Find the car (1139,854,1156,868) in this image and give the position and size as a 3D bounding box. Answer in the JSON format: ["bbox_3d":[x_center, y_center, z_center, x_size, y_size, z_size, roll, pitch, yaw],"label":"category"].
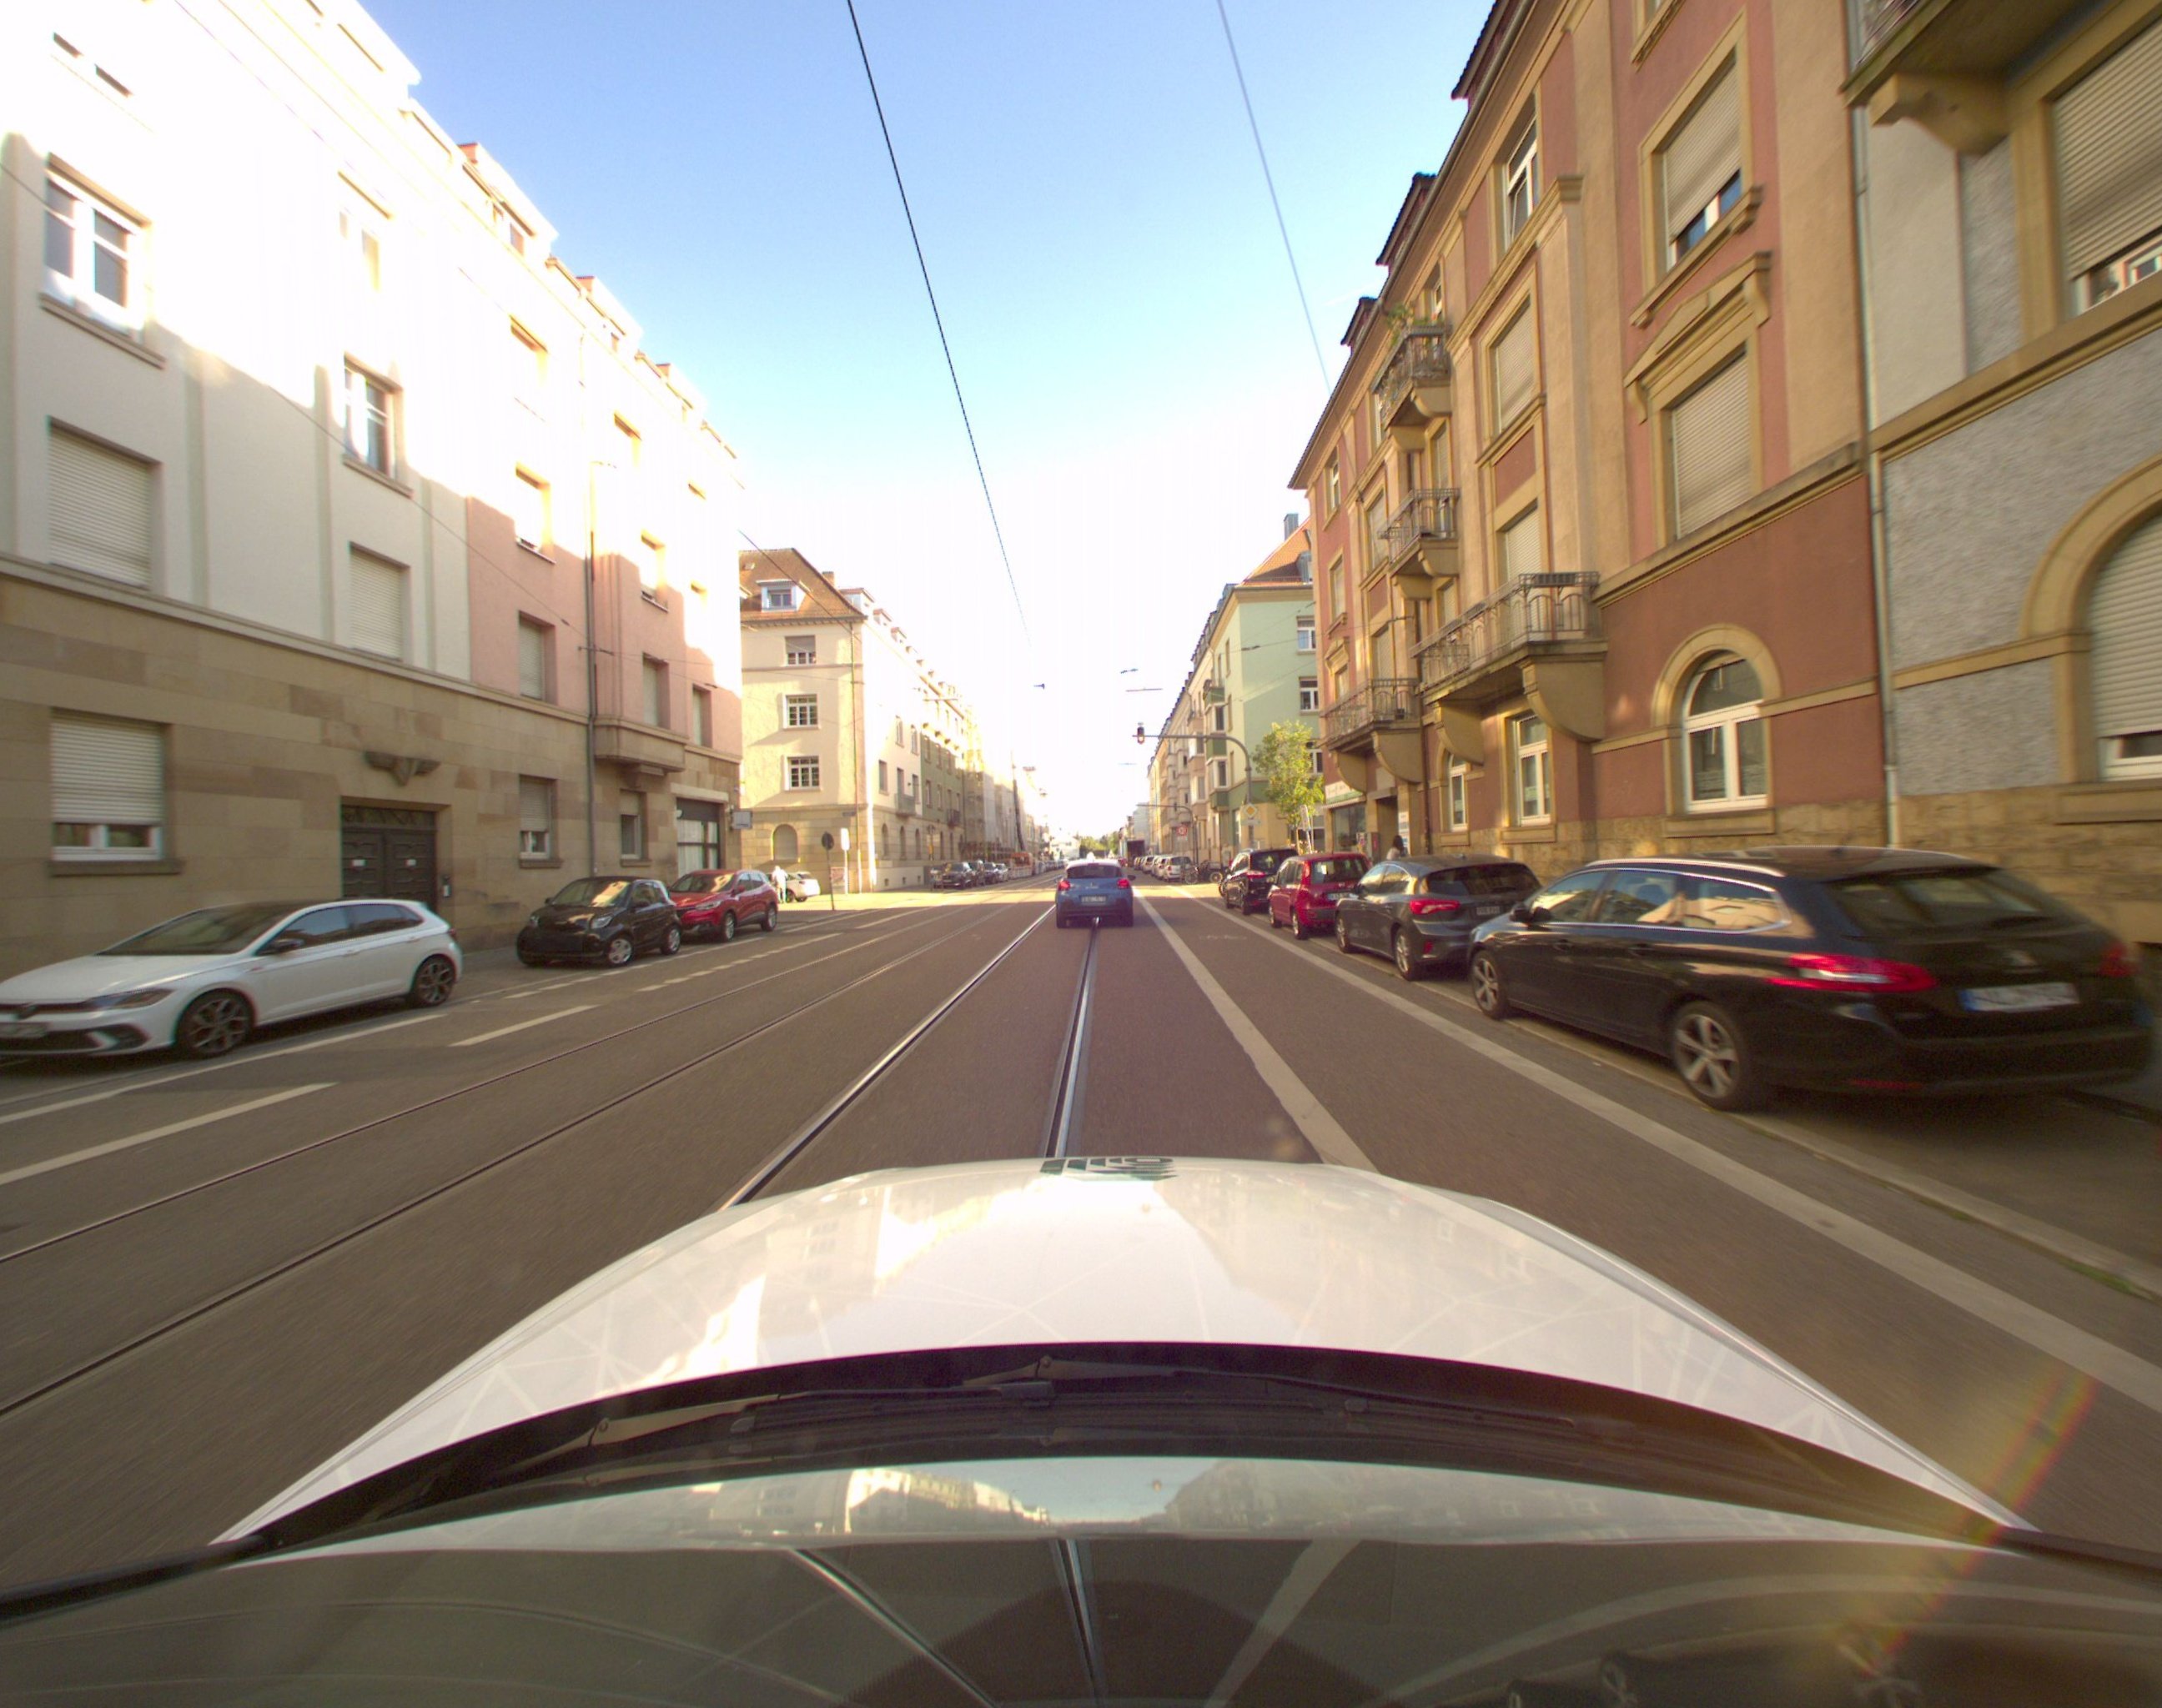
[{"bbox_3d":[7.640,0.809,93.943,1.657,1.519,4.224,-3,0,2],"label":"car"}]

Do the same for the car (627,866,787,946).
[{"bbox_3d":[-8.742,1.135,19.521,1.777,1.606,4.396,-1,0,0],"label":"car"}]

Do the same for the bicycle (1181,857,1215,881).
[{"bbox_3d":[6.547,0.811,45.521,1.716,1.154,0.469,-6,0,2],"label":"bicycle"}]

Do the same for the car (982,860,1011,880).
[{"bbox_3d":[-6.948,1.287,67.469,1.711,1.502,4.391,-1,0,3],"label":"car"}]

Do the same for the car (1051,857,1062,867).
[{"bbox_3d":[-4.528,1.491,151.388,1.819,1.631,3.907,-3,0,2],"label":"car"}]

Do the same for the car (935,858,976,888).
[{"bbox_3d":[-7.671,1.110,50.037,1.777,1.690,4.667,-1,0,0],"label":"car"}]

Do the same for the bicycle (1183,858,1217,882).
[{"bbox_3d":[6.450,0.871,44.221,1.716,1.154,0.469,-6,0,2],"label":"bicycle"}]

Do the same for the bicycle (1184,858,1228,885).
[{"bbox_3d":[6.386,0.891,41.744,2.078,1.154,0.849,-6,0,2],"label":"bicycle"}]

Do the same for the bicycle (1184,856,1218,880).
[{"bbox_3d":[6.604,0.767,44.896,1.716,1.154,0.469,-6,0,2],"label":"bicycle"}]

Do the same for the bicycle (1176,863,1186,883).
[{"bbox_3d":[5.485,1.026,44.723,0.351,1.044,1.730,-3,0,4],"label":"bicycle"}]

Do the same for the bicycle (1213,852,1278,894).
[{"bbox_3d":[5.423,0.629,26.925,1.952,1.227,0.527,-4,0,2],"label":"bicycle"}]

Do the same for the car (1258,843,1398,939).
[{"bbox_3d":[4.715,0.643,16.100,1.746,1.594,3.733,-3,0,3],"label":"car"}]

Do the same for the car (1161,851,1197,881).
[{"bbox_3d":[5.894,0.711,49.420,1.777,1.632,4.002,-3,0,2],"label":"car"}]

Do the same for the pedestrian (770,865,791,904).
[{"bbox_3d":[-13.580,1.372,36.806,0.604,1.712,0.732,-3,0,1],"label":"pedestrian"}]

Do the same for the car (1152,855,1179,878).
[{"bbox_3d":[6.292,0.867,60.666,1.648,1.566,4.340,-3,0,2],"label":"car"}]

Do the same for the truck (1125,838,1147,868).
[{"bbox_3d":[8.059,-0.086,120.523,2.841,4.083,11.280,-3,0,3],"label":"truck"}]

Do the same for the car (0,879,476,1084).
[{"bbox_3d":[-9.239,1.172,9.117,1.777,1.621,4.178,-1,0,0],"label":"car"}]

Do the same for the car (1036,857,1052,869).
[{"bbox_3d":[-5.686,1.332,125.551,2.137,1.621,4.001,-4,0,1],"label":"car"}]

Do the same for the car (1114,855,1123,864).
[{"bbox_3d":[9.826,1.411,212.867,2.211,2.284,4.086,-3,0,2],"label":"car"}]

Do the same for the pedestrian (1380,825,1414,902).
[{"bbox_3d":[7.037,0.211,18.145,0.511,1.687,0.448,-3,0,1],"label":"pedestrian"}]

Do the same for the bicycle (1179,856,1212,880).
[{"bbox_3d":[6.503,0.808,46.149,1.716,1.154,0.469,-6,0,2],"label":"bicycle"}]

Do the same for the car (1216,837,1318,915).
[{"bbox_3d":[4.909,0.538,22.093,1.746,1.735,4.509,-6,0,2],"label":"car"}]

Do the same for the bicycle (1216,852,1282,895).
[{"bbox_3d":[5.422,0.625,26.364,1.952,1.227,0.527,-4,0,2],"label":"bicycle"}]

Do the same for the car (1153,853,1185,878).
[{"bbox_3d":[5.961,0.766,55.352,1.777,1.576,4.328,-3,0,2],"label":"car"}]

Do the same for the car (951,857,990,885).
[{"bbox_3d":[-7.502,1.123,55.495,1.776,1.816,4.531,-1,0,3],"label":"car"}]

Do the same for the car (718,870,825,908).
[{"bbox_3d":[-14.421,1.601,38.111,4.202,1.464,1.783,-3,1,1],"label":"car"}]

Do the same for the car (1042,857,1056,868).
[{"bbox_3d":[-5.193,1.365,131.317,1.819,1.631,4.851,-3,0,2],"label":"car"}]

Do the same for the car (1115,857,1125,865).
[{"bbox_3d":[7.412,1.307,153.888,1.758,1.486,4.034,-3,0,2],"label":"car"}]

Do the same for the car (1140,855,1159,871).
[{"bbox_3d":[7.127,0.943,84.555,1.716,1.486,4.224,-3,0,2],"label":"car"}]

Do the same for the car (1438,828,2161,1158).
[{"bbox_3d":[4.472,0.658,6.095,1.648,1.483,4.475,-3,0,1],"label":"car"}]

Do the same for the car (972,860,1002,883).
[{"bbox_3d":[-7.060,1.274,61.568,1.777,1.627,4.608,-1,0,0],"label":"car"}]

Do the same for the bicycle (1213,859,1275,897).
[{"bbox_3d":[5.491,0.804,27.502,1.916,1.160,0.527,-4,0,2],"label":"bicycle"}]

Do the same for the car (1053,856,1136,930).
[{"bbox_3d":[0.363,0.830,19.119,1.728,1.507,3.994,-1,0,2],"label":"car"}]

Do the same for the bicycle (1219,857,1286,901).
[{"bbox_3d":[5.420,0.791,25.790,1.952,1.227,0.527,-4,0,2],"label":"bicycle"}]

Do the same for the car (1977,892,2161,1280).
[{"bbox_3d":[4.298,0.773,0.989,1.647,1.249,4.510,-3,0,4],"label":"car"}]

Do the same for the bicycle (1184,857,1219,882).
[{"bbox_3d":[6.444,0.830,43.673,1.716,1.154,0.469,-6,0,2],"label":"bicycle"}]

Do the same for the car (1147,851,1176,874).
[{"bbox_3d":[6.553,0.670,66.391,1.651,1.752,4.599,-3,0,-2],"label":"car"}]

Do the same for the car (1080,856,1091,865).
[{"bbox_3d":[0.805,1.266,155.303,1.819,1.631,4.493,-3,0,2],"label":"car"}]

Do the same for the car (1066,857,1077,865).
[{"bbox_3d":[-1.977,1.508,170.446,1.819,1.631,4.047,-3,0,2],"label":"car"}]

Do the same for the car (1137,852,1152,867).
[{"bbox_3d":[7.717,0.633,99.065,1.657,1.647,4.224,-3,0,2],"label":"car"}]

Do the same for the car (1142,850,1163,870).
[{"bbox_3d":[6.827,0.548,78.421,1.724,1.827,4.689,-3,0,2],"label":"car"}]

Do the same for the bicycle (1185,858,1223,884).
[{"bbox_3d":[6.391,0.894,42.436,1.836,1.154,0.469,-6,0,2],"label":"bicycle"}]

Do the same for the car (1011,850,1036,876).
[{"bbox_3d":[-5.946,0.916,84.935,2.138,2.475,4.979,-3,0,0],"label":"car"}]

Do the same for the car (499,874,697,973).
[{"bbox_3d":[-8.751,1.193,15.058,1.776,1.553,3.020,-1,0,2],"label":"car"}]

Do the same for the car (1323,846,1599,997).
[{"bbox_3d":[4.673,0.709,10.823,1.648,1.513,4.476,-3,0,2],"label":"car"}]
